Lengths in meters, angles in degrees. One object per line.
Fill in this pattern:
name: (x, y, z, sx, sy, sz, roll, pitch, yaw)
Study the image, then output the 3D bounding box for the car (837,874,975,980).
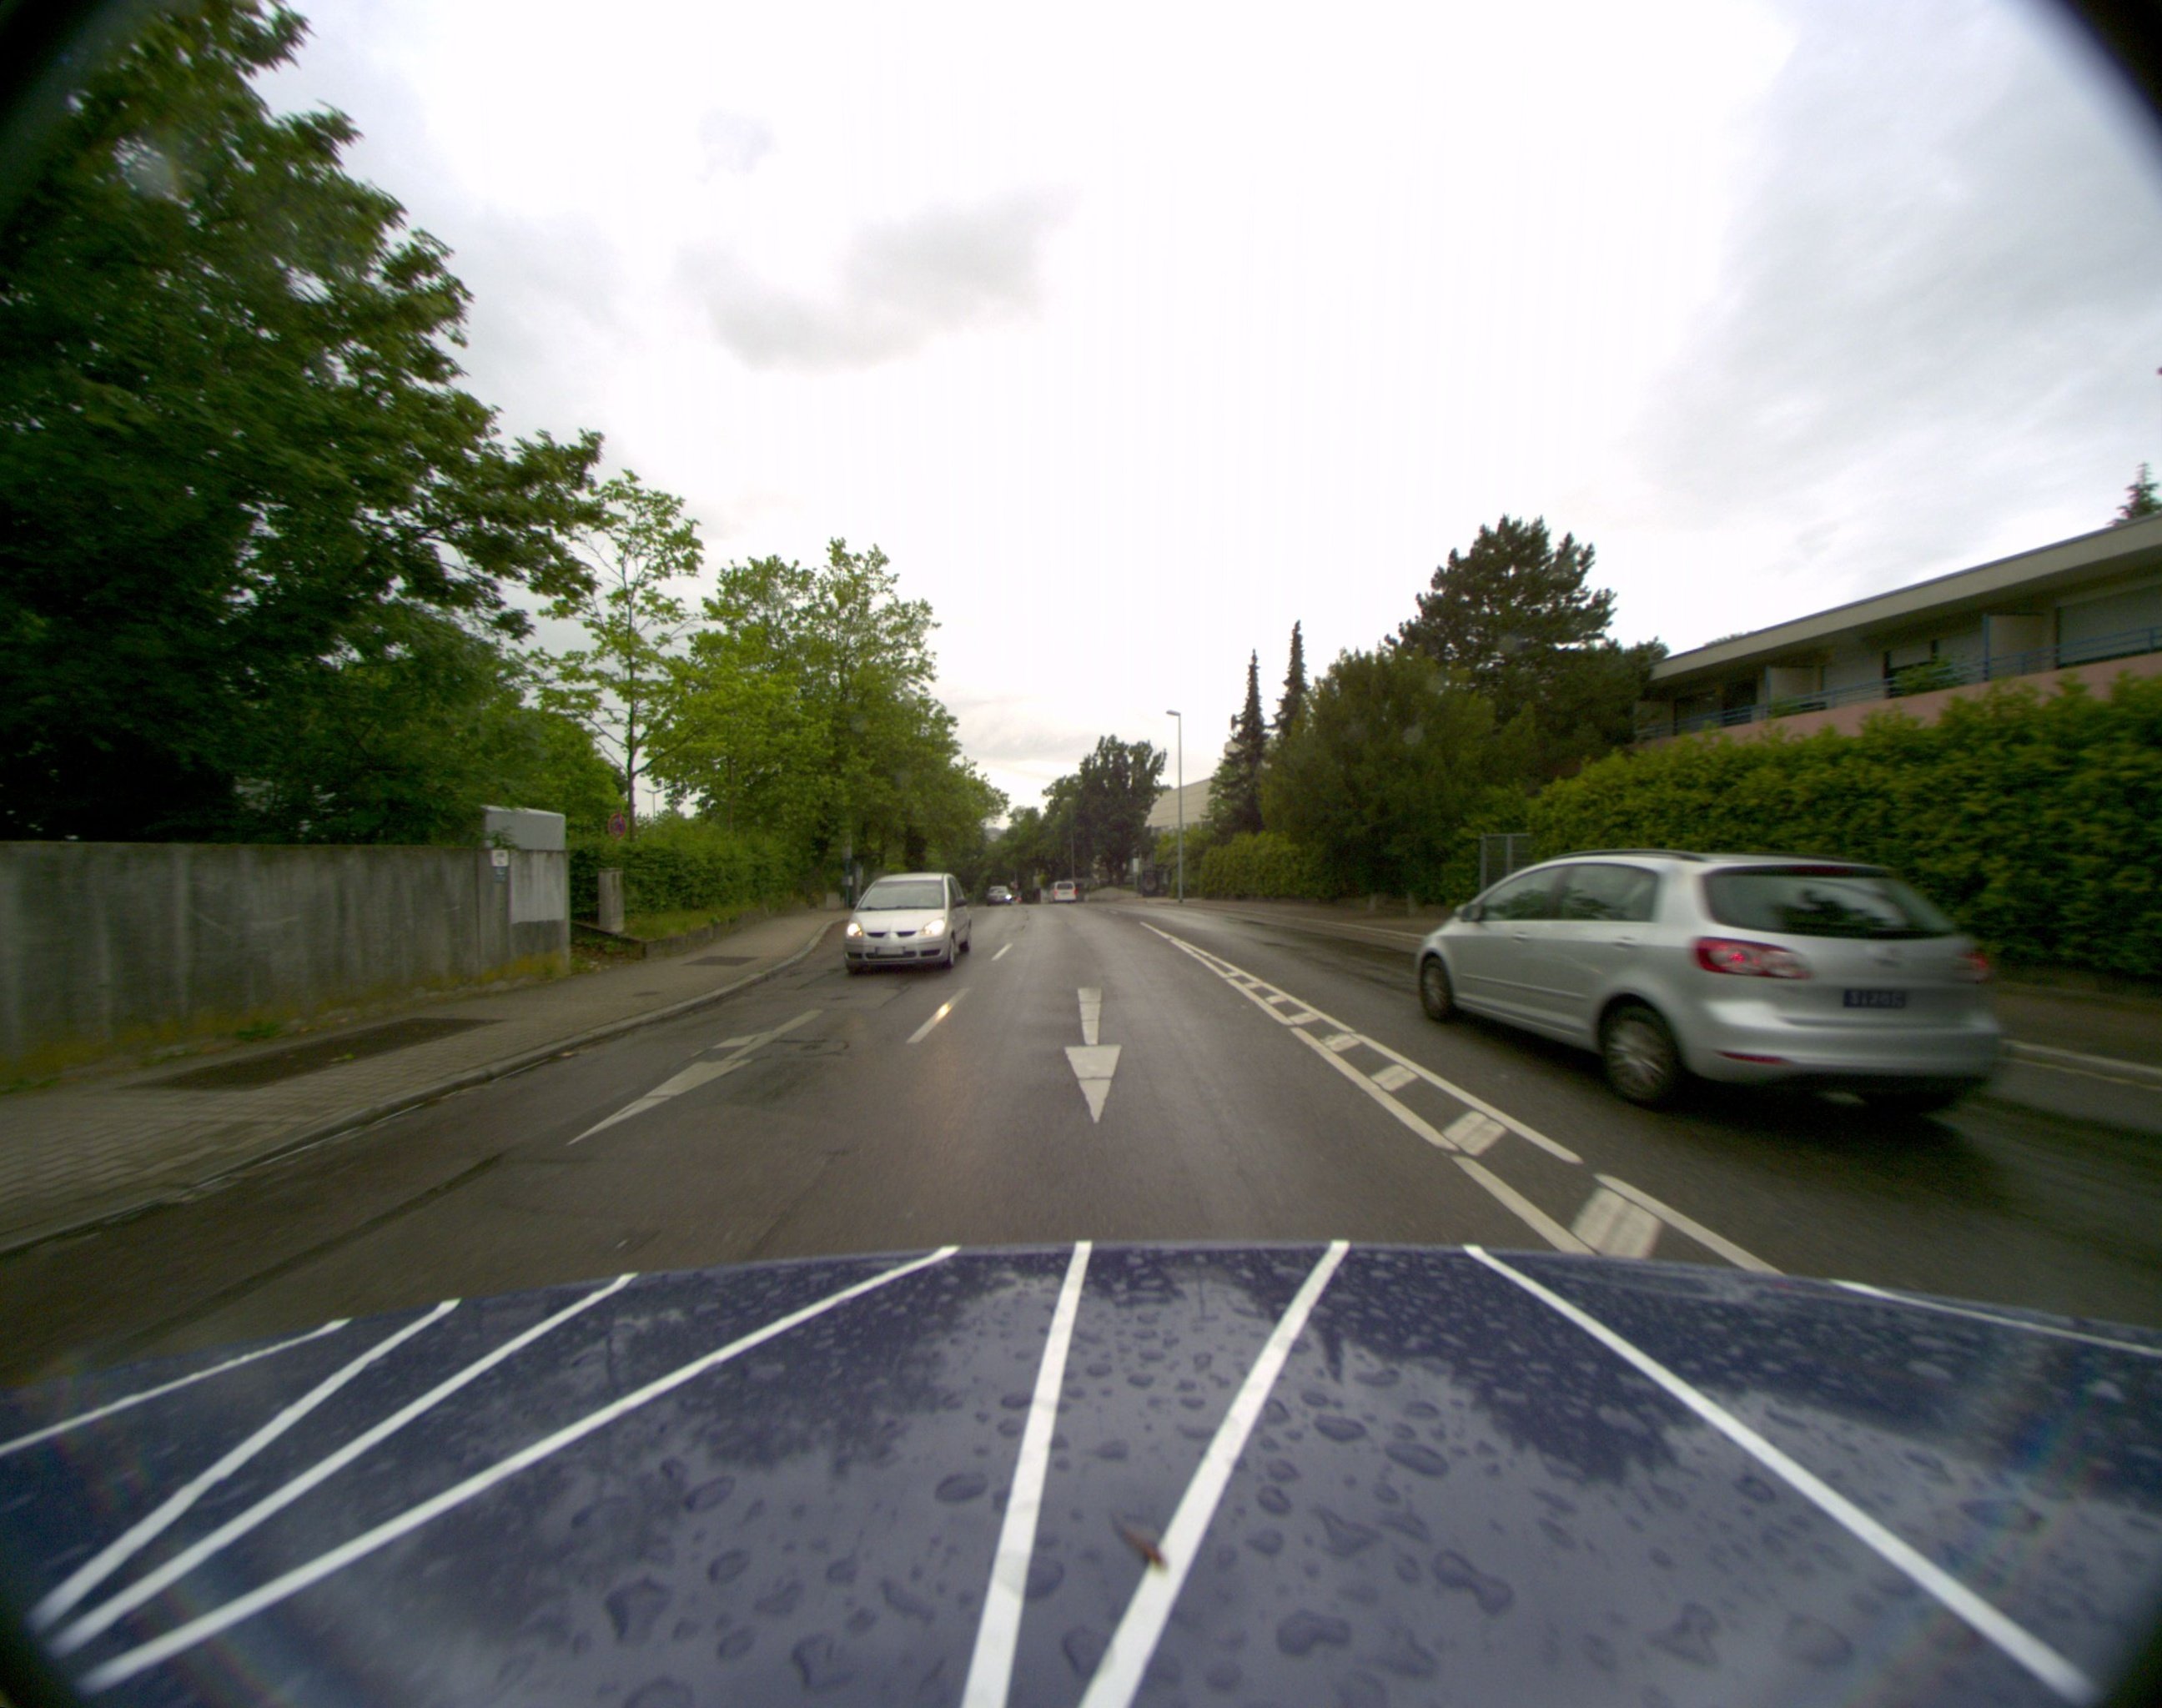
car: (-2.899, 1.166, 13.357, 1.640, 1.495, 4.000, -3, -2, -3)

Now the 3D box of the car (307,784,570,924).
car: (-11.668, 0.126, 14.259, 2.000, 2.212, 4.132, -2, -4, -11)

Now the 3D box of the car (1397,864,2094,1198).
car: (4.119, 0.904, 5.765, 1.639, 1.570, 4.057, 2, 0, -1)

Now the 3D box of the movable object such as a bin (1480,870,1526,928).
movable object such as a bin: (9.958, 1.049, 17.959, 0.549, 1.318, 0.806, -2, -1, -4)

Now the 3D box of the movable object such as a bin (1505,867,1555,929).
movable object such as a bin: (10.046, 0.976, 17.023, 0.549, 1.318, 0.806, -2, -1, -4)

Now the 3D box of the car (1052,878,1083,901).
car: (-1.248, 3.064, 65.709, 1.870, 1.904, 5.026, 1, -2, -10)

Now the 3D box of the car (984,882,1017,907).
car: (-5.958, 3.045, 56.541, 2.036, 1.690, 4.002, -4, -4, -1)

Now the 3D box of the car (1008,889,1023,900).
car: (-8.788, 5.411, 101.953, 1.691, 1.444, 3.397, -1, -3, -8)
